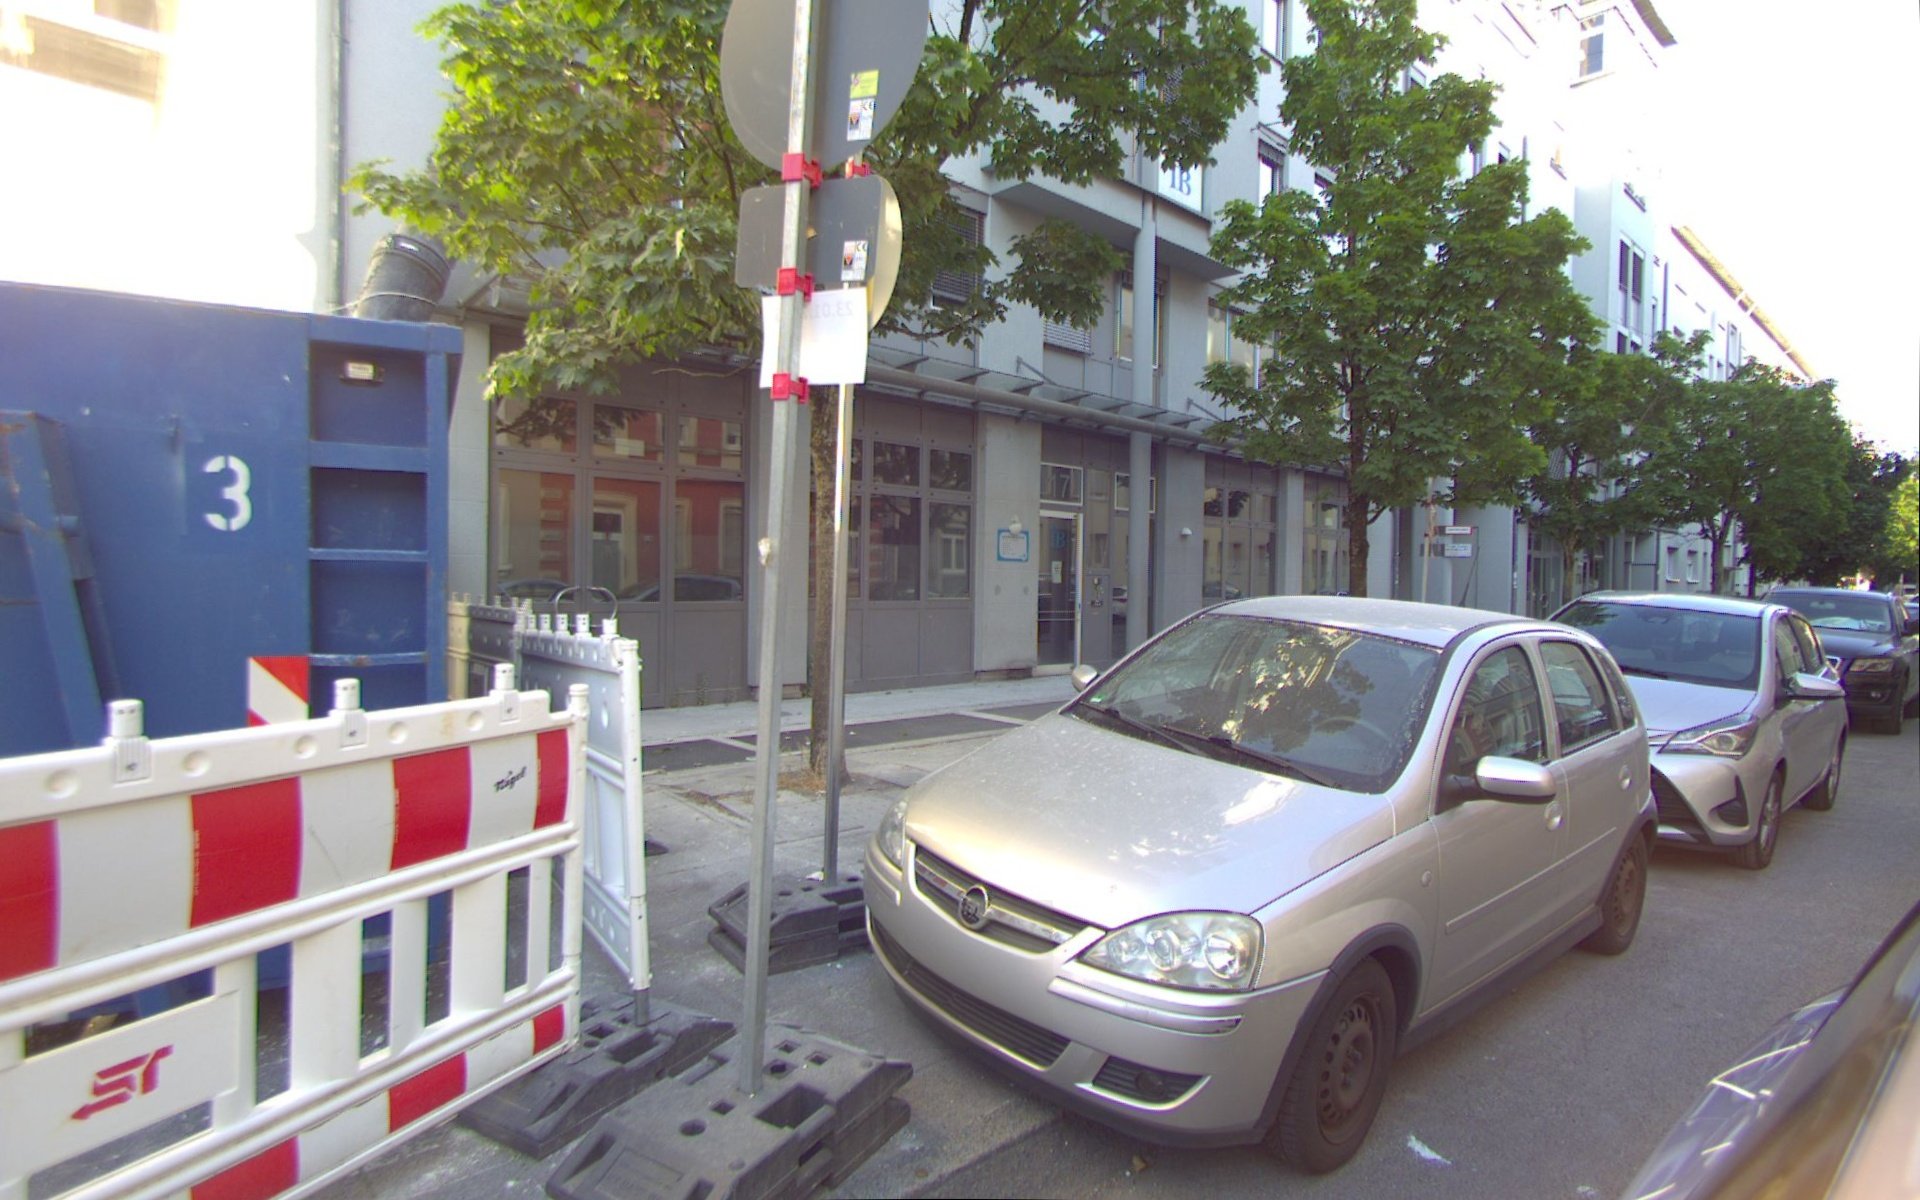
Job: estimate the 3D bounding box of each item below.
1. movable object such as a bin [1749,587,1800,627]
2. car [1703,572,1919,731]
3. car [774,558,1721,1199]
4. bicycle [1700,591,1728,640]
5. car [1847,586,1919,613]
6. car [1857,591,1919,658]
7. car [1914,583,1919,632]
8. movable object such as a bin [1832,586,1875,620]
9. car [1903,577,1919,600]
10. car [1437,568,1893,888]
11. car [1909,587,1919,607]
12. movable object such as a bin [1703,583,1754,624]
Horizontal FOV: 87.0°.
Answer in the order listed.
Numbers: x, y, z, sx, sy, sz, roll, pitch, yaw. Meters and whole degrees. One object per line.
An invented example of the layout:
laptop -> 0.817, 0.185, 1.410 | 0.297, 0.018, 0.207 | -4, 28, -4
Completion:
movable object such as a bin -> 29.275, 0.231, 36.373 | 1.120, 1.337, 1.263 | 0, 3, -43
car -> 11.235, 0.516, 13.018 | 4.360, 1.642, 1.888 | 0, 3, -43
car -> 1.337, 0.649, 3.850 | 3.664, 1.493, 1.680 | 0, 3, -40
bicycle -> 19.223, 0.372, 25.817 | 0.519, 1.182, 1.718 | 3, 3, 36
car -> 59.920, -0.039, 65.210 | 1.968, 1.584, 3.991 | 0, 4, -44
car -> 22.946, 0.555, 24.222 | 4.272, 1.446, 1.766 | 0, 3, -43
car -> 34.880, 0.295, 35.475 | 4.646, 1.655, 1.873 | -1, 3, -45
movable object such as a bin -> 40.165, 0.106, 45.501 | 1.202, 1.454, 1.286 | 0, 3, -43
car -> 96.753, -1.137, 101.371 | 2.147, 2.311, 6.135 | 3, 3, 33
car -> 5.005, 0.610, 6.977 | 3.902, 1.543, 1.679 | 0, 3, -42
car -> 87.902, -0.197, 90.336 | 2.040, 1.792, 4.224 | 1, 3, -31
movable object such as a bin -> 28.221, 0.115, 37.167 | 1.120, 1.454, 1.263 | 0, 3, -43
